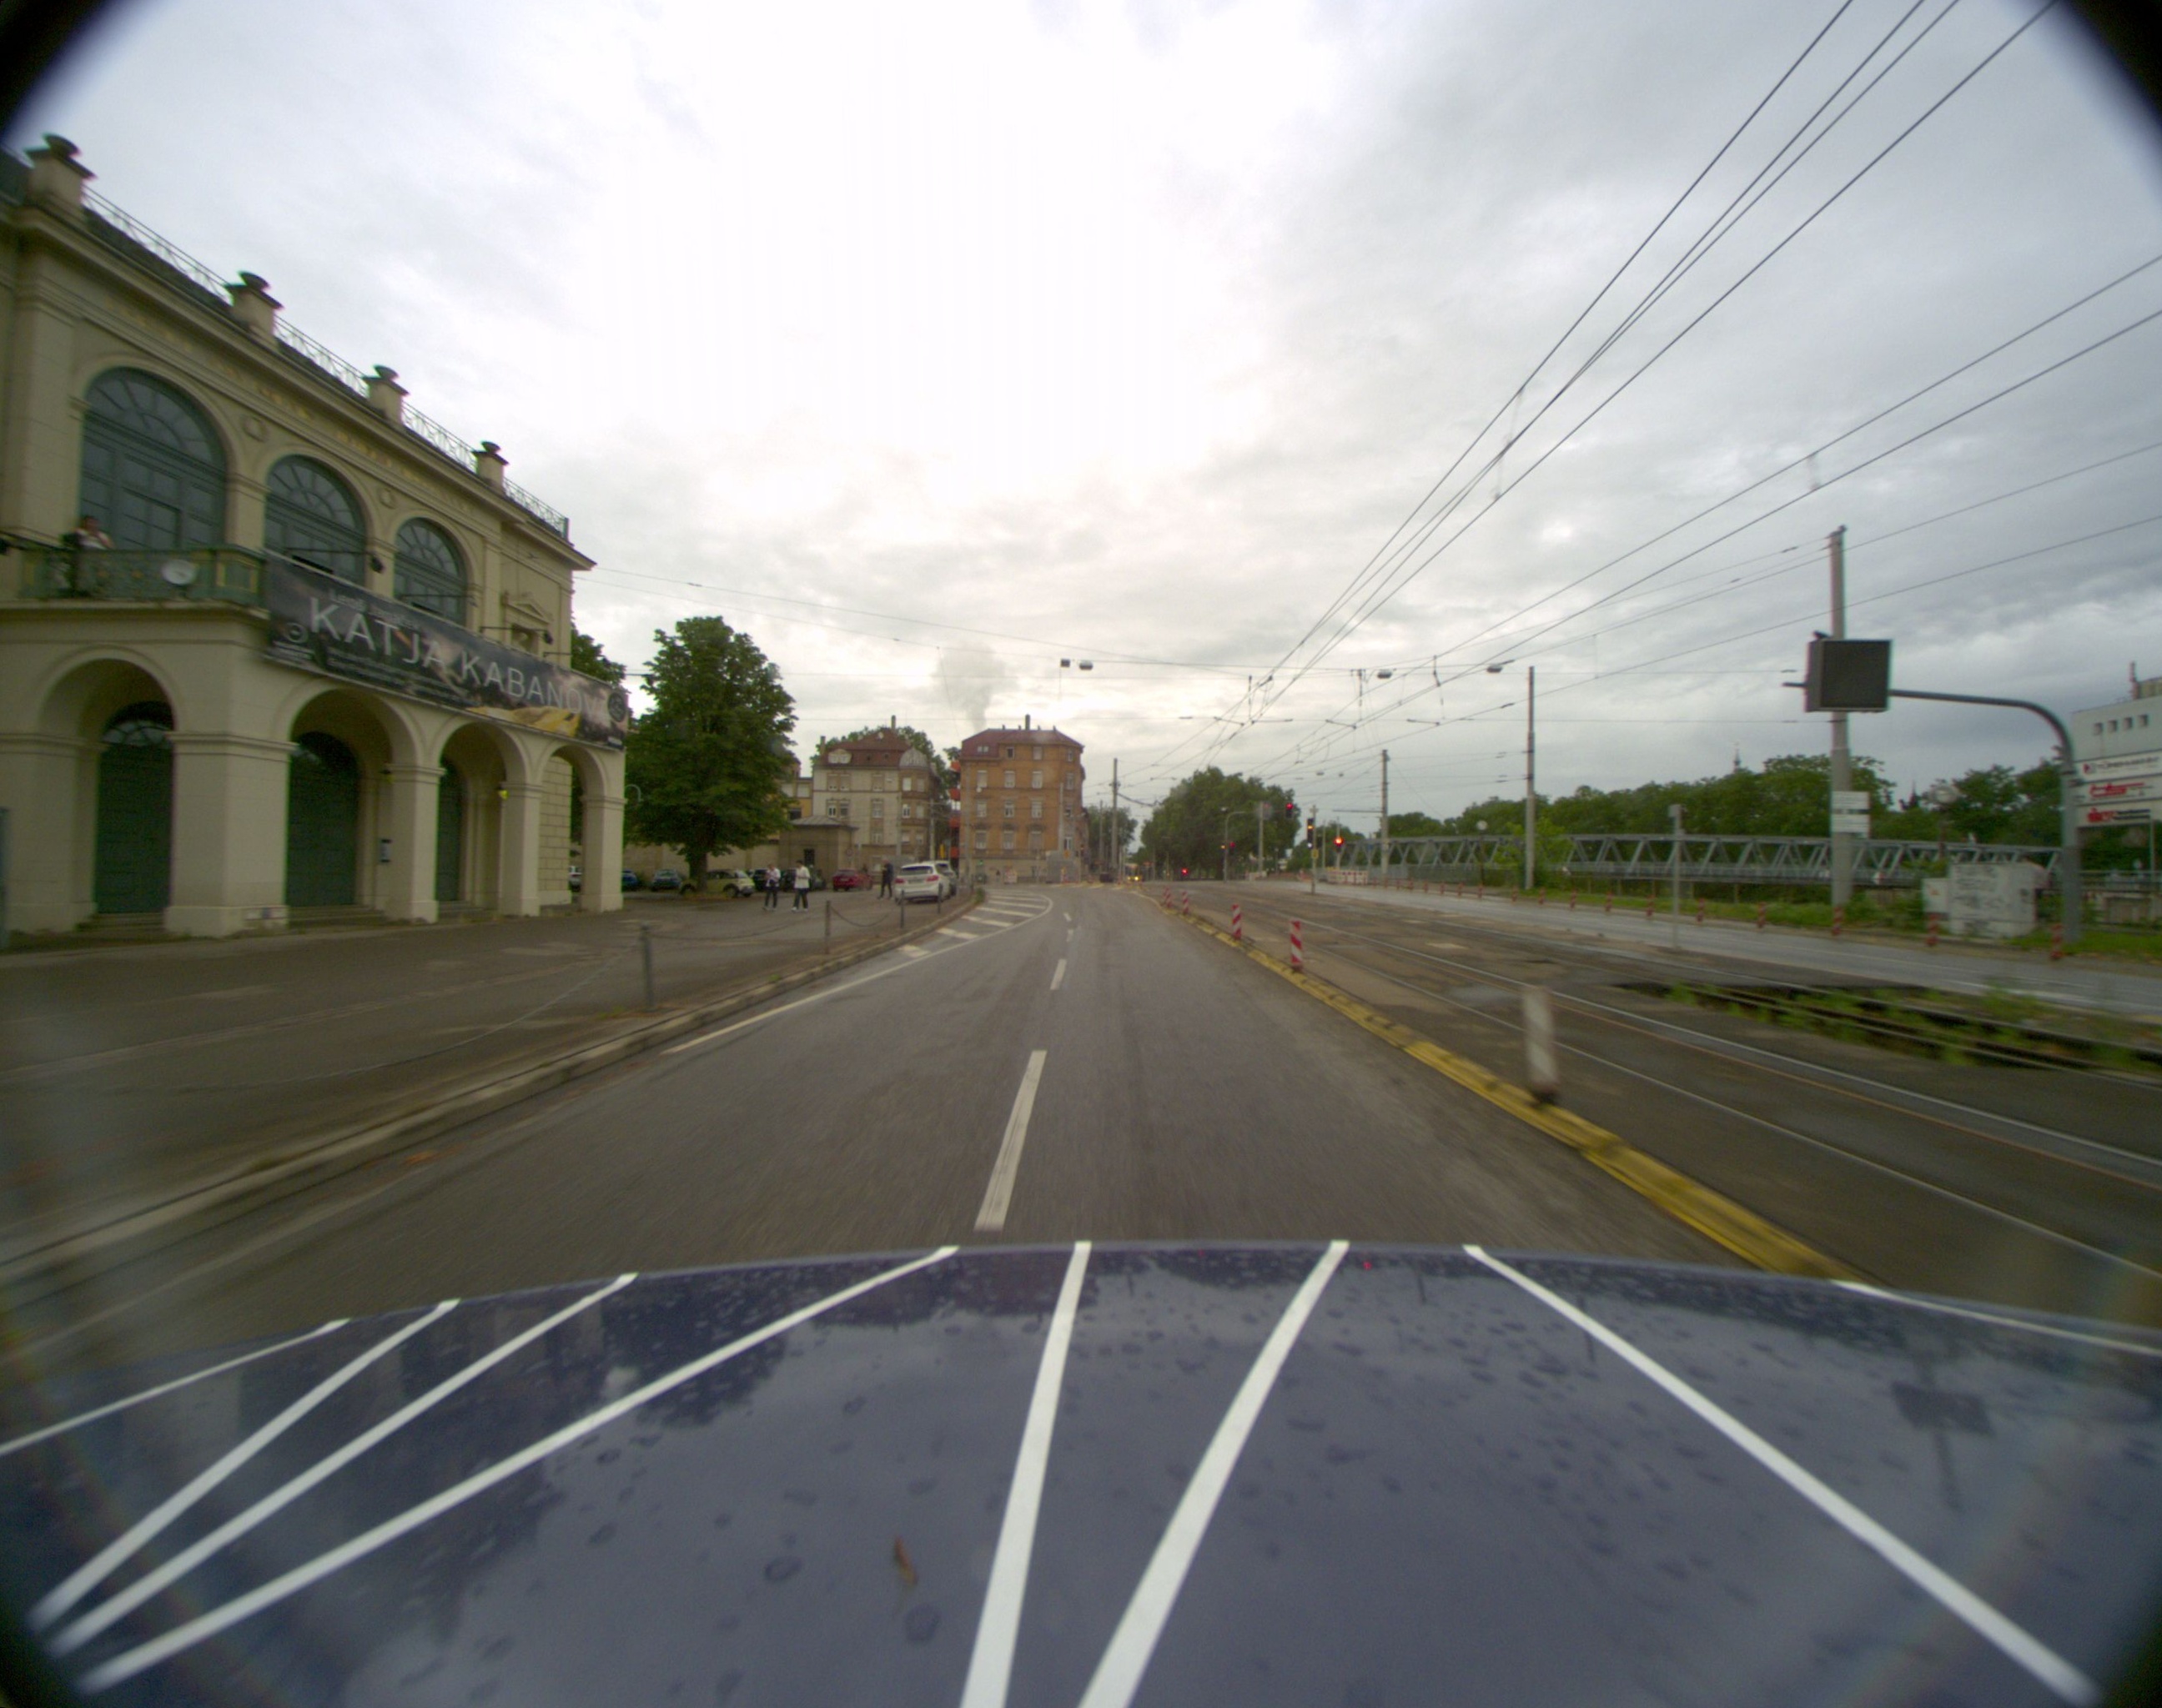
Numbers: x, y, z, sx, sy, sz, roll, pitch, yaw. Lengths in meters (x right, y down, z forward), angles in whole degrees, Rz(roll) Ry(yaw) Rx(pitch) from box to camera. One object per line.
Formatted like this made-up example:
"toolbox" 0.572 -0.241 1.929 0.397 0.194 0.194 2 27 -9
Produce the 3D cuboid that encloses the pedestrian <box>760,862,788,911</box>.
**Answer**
"pedestrian" -10.257 1.075 25.399 0.629 1.635 0.780 1 0 -5

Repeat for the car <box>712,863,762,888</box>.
"car" -22.870 1.413 50.665 1.831 1.573 3.998 1 0 -6

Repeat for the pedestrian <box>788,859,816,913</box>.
"pedestrian" -9.133 1.038 24.911 0.595 1.726 0.839 1 0 -1

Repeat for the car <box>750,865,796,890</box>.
"car" -20.300 1.522 50.271 1.682 1.488 3.998 1 0 -5

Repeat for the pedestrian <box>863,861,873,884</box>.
"pedestrian" -16.305 1.440 58.261 0.451 1.731 0.712 1 0 13

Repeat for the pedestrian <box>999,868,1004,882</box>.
"pedestrian" -9.394 2.468 89.710 0.512 1.644 0.535 0 0 -1

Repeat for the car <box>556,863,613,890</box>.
"car" -30.815 1.374 47.149 3.988 1.573 1.686 0 0 37

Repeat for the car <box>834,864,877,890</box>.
"car" -14.594 1.467 49.348 1.831 1.573 3.998 1 0 -4

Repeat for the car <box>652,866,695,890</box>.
"car" -26.682 1.532 49.812 1.724 1.433 3.994 1 0 -17

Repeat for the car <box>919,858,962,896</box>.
"car" -6.648 1.032 36.275 1.721 1.630 4.140 -3 0 -7

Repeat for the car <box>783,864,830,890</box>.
"car" -17.806 1.453 49.457 1.864 1.539 4.064 0 0 -5

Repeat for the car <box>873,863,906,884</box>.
"car" -15.133 1.514 60.215 1.831 1.573 3.998 1 0 -4

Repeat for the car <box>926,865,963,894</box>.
"car" -7.646 1.380 42.875 1.845 1.455 4.140 -3 0 -9

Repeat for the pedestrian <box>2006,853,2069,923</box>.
"pedestrian" 23.450 0.826 18.637 0.766 1.678 0.619 1 0 0

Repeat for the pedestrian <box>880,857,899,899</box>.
"pedestrian" -8.403 1.044 33.429 0.698 1.796 0.781 -1 0 -8

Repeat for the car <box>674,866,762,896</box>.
"car" -18.977 1.417 39.819 3.742 1.460 1.729 1 0 4

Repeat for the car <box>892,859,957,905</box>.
"car" -6.212 1.065 30.615 1.844 1.630 4.142 -3 0 -3
